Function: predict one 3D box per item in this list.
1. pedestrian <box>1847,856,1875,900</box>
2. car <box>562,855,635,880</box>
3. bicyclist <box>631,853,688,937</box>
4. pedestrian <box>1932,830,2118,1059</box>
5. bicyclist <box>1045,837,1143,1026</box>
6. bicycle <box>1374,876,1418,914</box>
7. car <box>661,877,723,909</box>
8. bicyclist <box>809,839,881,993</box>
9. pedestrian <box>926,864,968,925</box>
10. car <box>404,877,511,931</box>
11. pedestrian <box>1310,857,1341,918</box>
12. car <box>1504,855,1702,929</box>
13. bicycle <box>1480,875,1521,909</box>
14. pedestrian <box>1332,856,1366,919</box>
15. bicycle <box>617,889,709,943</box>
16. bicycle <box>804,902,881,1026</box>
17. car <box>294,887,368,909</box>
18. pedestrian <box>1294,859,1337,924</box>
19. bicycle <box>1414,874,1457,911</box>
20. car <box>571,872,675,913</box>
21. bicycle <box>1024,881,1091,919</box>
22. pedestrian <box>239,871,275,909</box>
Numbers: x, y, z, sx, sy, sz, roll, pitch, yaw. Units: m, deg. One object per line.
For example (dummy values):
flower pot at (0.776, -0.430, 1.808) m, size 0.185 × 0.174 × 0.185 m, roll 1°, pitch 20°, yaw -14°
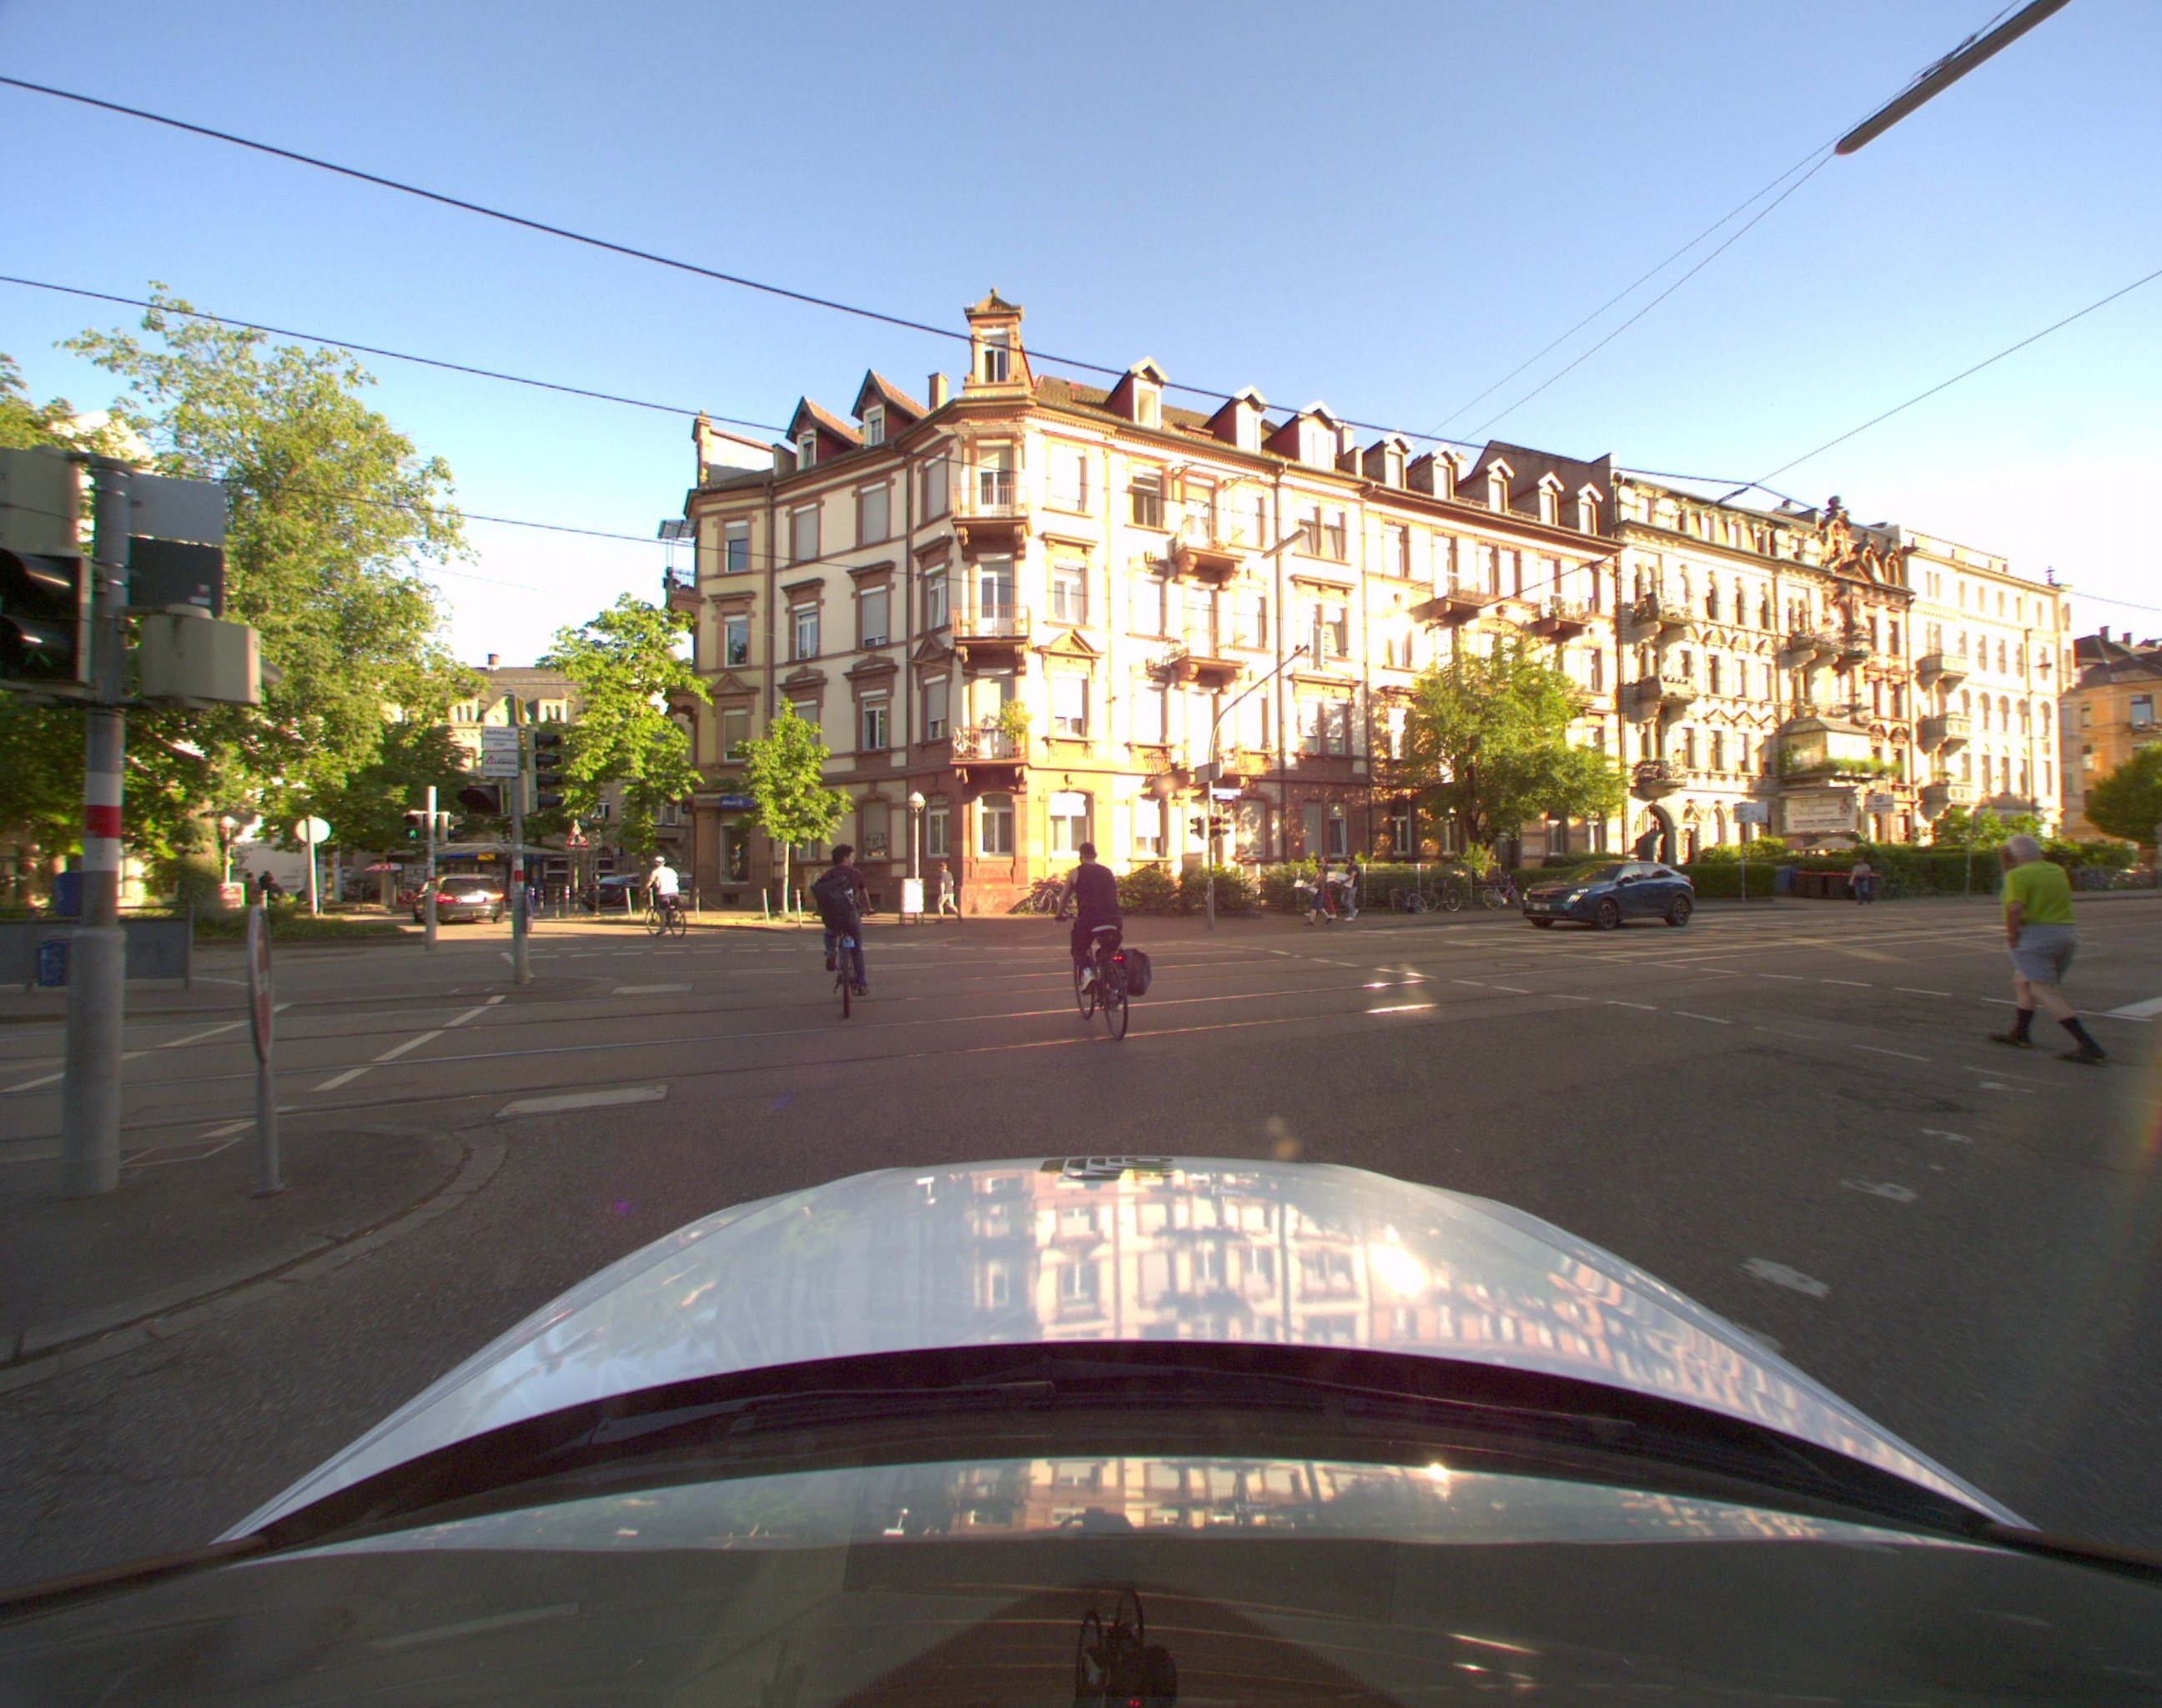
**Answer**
pedestrian at (29.405, 0.916, 30.690) m, size 0.494 × 1.641 × 0.524 m, roll -1°, pitch -2°, yaw -11°
car at (-34.121, 0.959, 57.685) m, size 3.973 × 1.647 × 1.879 m, roll -1°, pitch -1°, yaw 0°
bicyclist at (-9.912, 0.947, 19.148) m, size 0.933 × 1.913 × 0.802 m, roll -2°, pitch -2°, yaw 29°
pedestrian at (7.714, 0.680, 6.709) m, size 0.637 × 1.727 × 0.893 m, roll 1°, pitch 1°, yaw 22°
bicyclist at (0.100, 0.701, 7.761) m, size 0.687 × 1.656 × 0.985 m, roll -1°, pitch -3°, yaw -12°
bicycle at (9.645, 1.236, 24.908) m, size 1.232 × 1.107 × 0.440 m, roll -1°, pitch -1°, yaw -17°
car at (-18.961, 1.896, 39.828) m, size 1.496 × 1.458 × 3.205 m, roll -1°, pitch -1°, yaw -1°
bicyclist at (-2.555, 0.644, 8.881) m, size 0.708 × 1.573 × 0.952 m, roll 0°, pitch -2°, yaw -14°
pedestrian at (-3.675, 1.090, 22.383) m, size 0.893 × 1.635 × 0.730 m, roll 0°, pitch 0°, yaw 36°
car at (-19.298, 1.486, 25.145) m, size 3.810 × 1.542 × 1.806 m, roll -2°, pitch -3°, yaw 40°
pedestrian at (6.941, 0.942, 23.111) m, size 0.634 × 1.715 × 0.519 m, roll -1°, pitch -2°, yaw -10°
car at (12.897, 0.890, 20.145) m, size 4.414 × 1.650 × 1.934 m, roll 0°, pitch -2°, yaw -23°
bicycle at (13.474, 1.211, 26.164) m, size 1.233 × 1.038 × 0.440 m, roll -1°, pitch -1°, yaw -18°
pedestrian at (7.381, 0.919, 22.465) m, size 0.634 × 1.715 × 0.661 m, roll -1°, pitch -2°, yaw -10°
bicycle at (-9.810, 1.425, 19.081) m, size 2.198 × 1.185 × 0.817 m, roll -2°, pitch -2°, yaw 28°
bicycle at (-2.563, 1.121, 8.895) m, size 0.718 × 1.107 × 1.957 m, roll 0°, pitch -2°, yaw -14°
car at (-52.077, 3.033, 56.598) m, size 3.549 × 1.499 × 1.671 m, roll -1°, pitch -3°, yaw 0°
pedestrian at (6.216, 0.991, 21.626) m, size 0.894 × 1.665 × 0.711 m, roll -1°, pitch 1°, yaw -6°
bicycle at (11.011, 1.198, 25.309) m, size 1.232 × 1.107 × 0.440 m, roll -1°, pitch -1°, yaw -17°
car at (-19.215, 1.574, 34.402) m, size 1.784 × 1.611 × 4.371 m, roll -1°, pitch -1°, yaw 2°
bicycle at (-0.701, 1.377, 24.498) m, size 1.947 × 1.107 × 0.444 m, roll 0°, pitch -1°, yaw 11°
pedestrian at (-38.076, 1.653, 37.636) m, size 0.879 × 1.750 × 0.716 m, roll -1°, pitch -2°, yaw -2°
